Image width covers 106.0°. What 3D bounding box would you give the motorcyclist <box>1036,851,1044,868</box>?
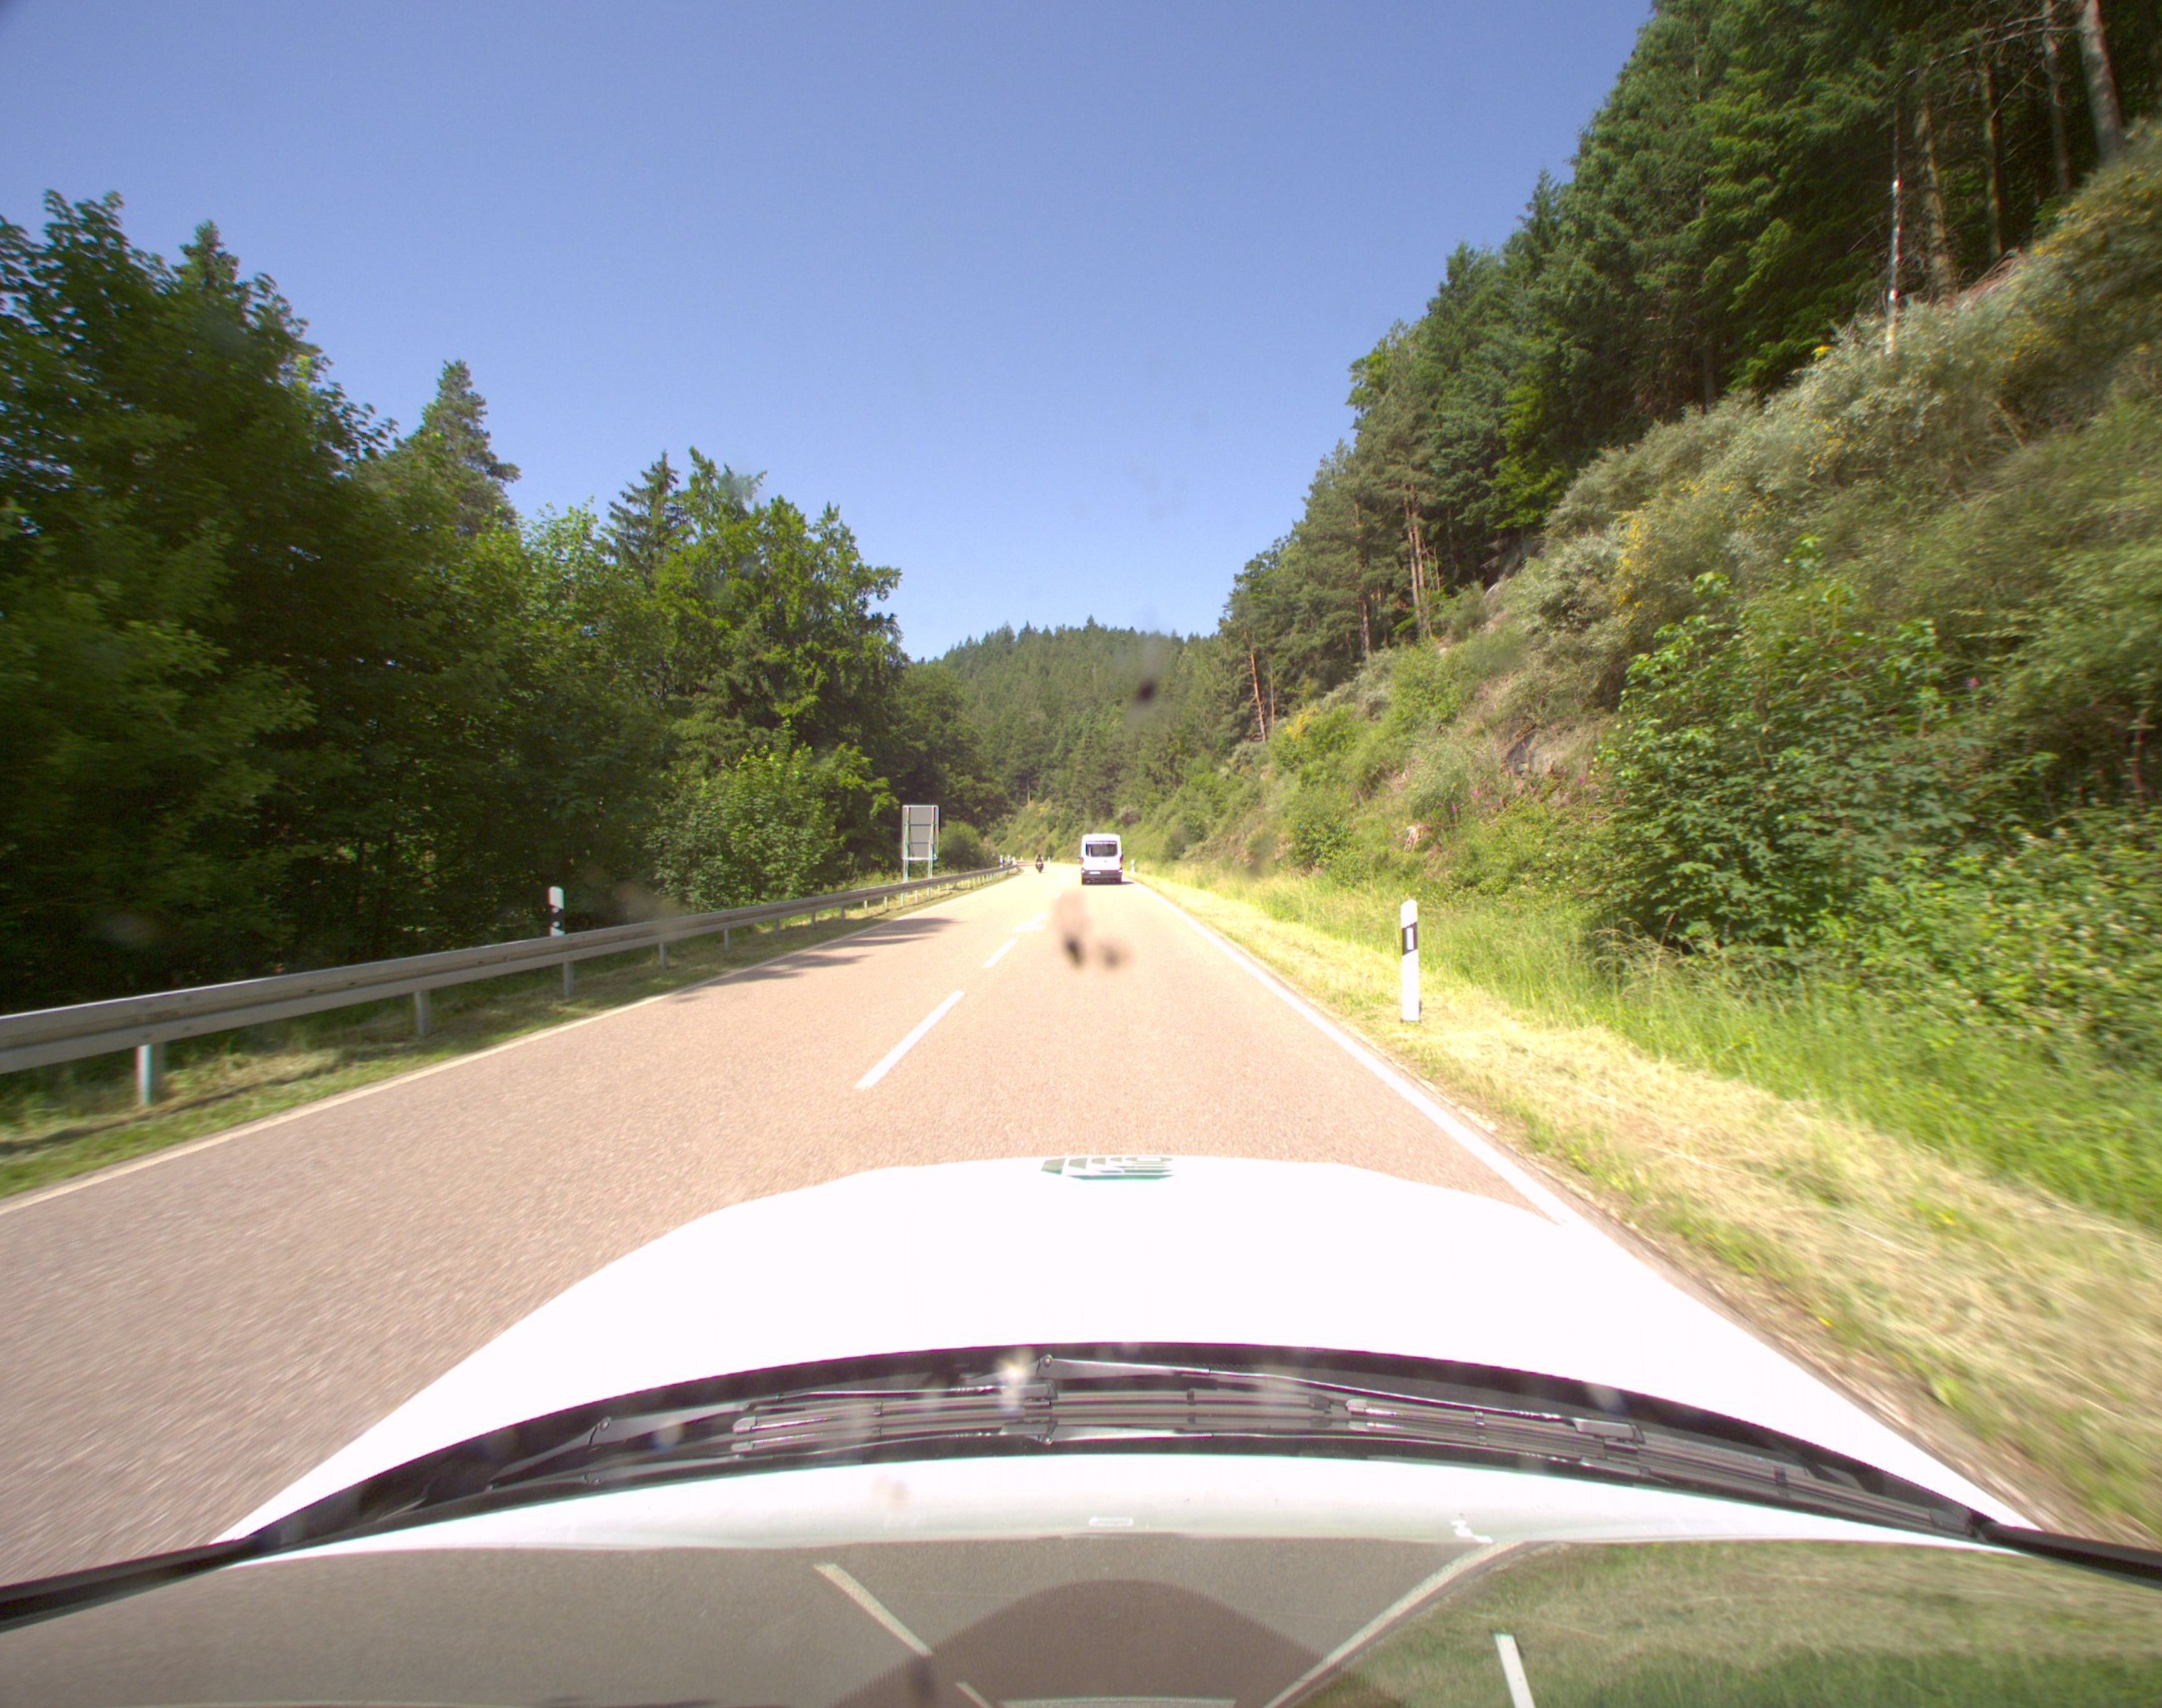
[{"bbox_3d":[-3.565,0.487,70.871,0.656,1.513,0.933,-1,0,0],"label":"motorcyclist"}]

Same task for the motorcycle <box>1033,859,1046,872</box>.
[{"bbox_3d":[-3.593,0.964,70.837,0.981,1.071,1.963,-1,0,1],"label":"motorcycle"}]

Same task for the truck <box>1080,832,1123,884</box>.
[{"bbox_3d":[0.985,0.191,41.605,2.077,2.459,4.874,-1,0,0],"label":"truck"}]
